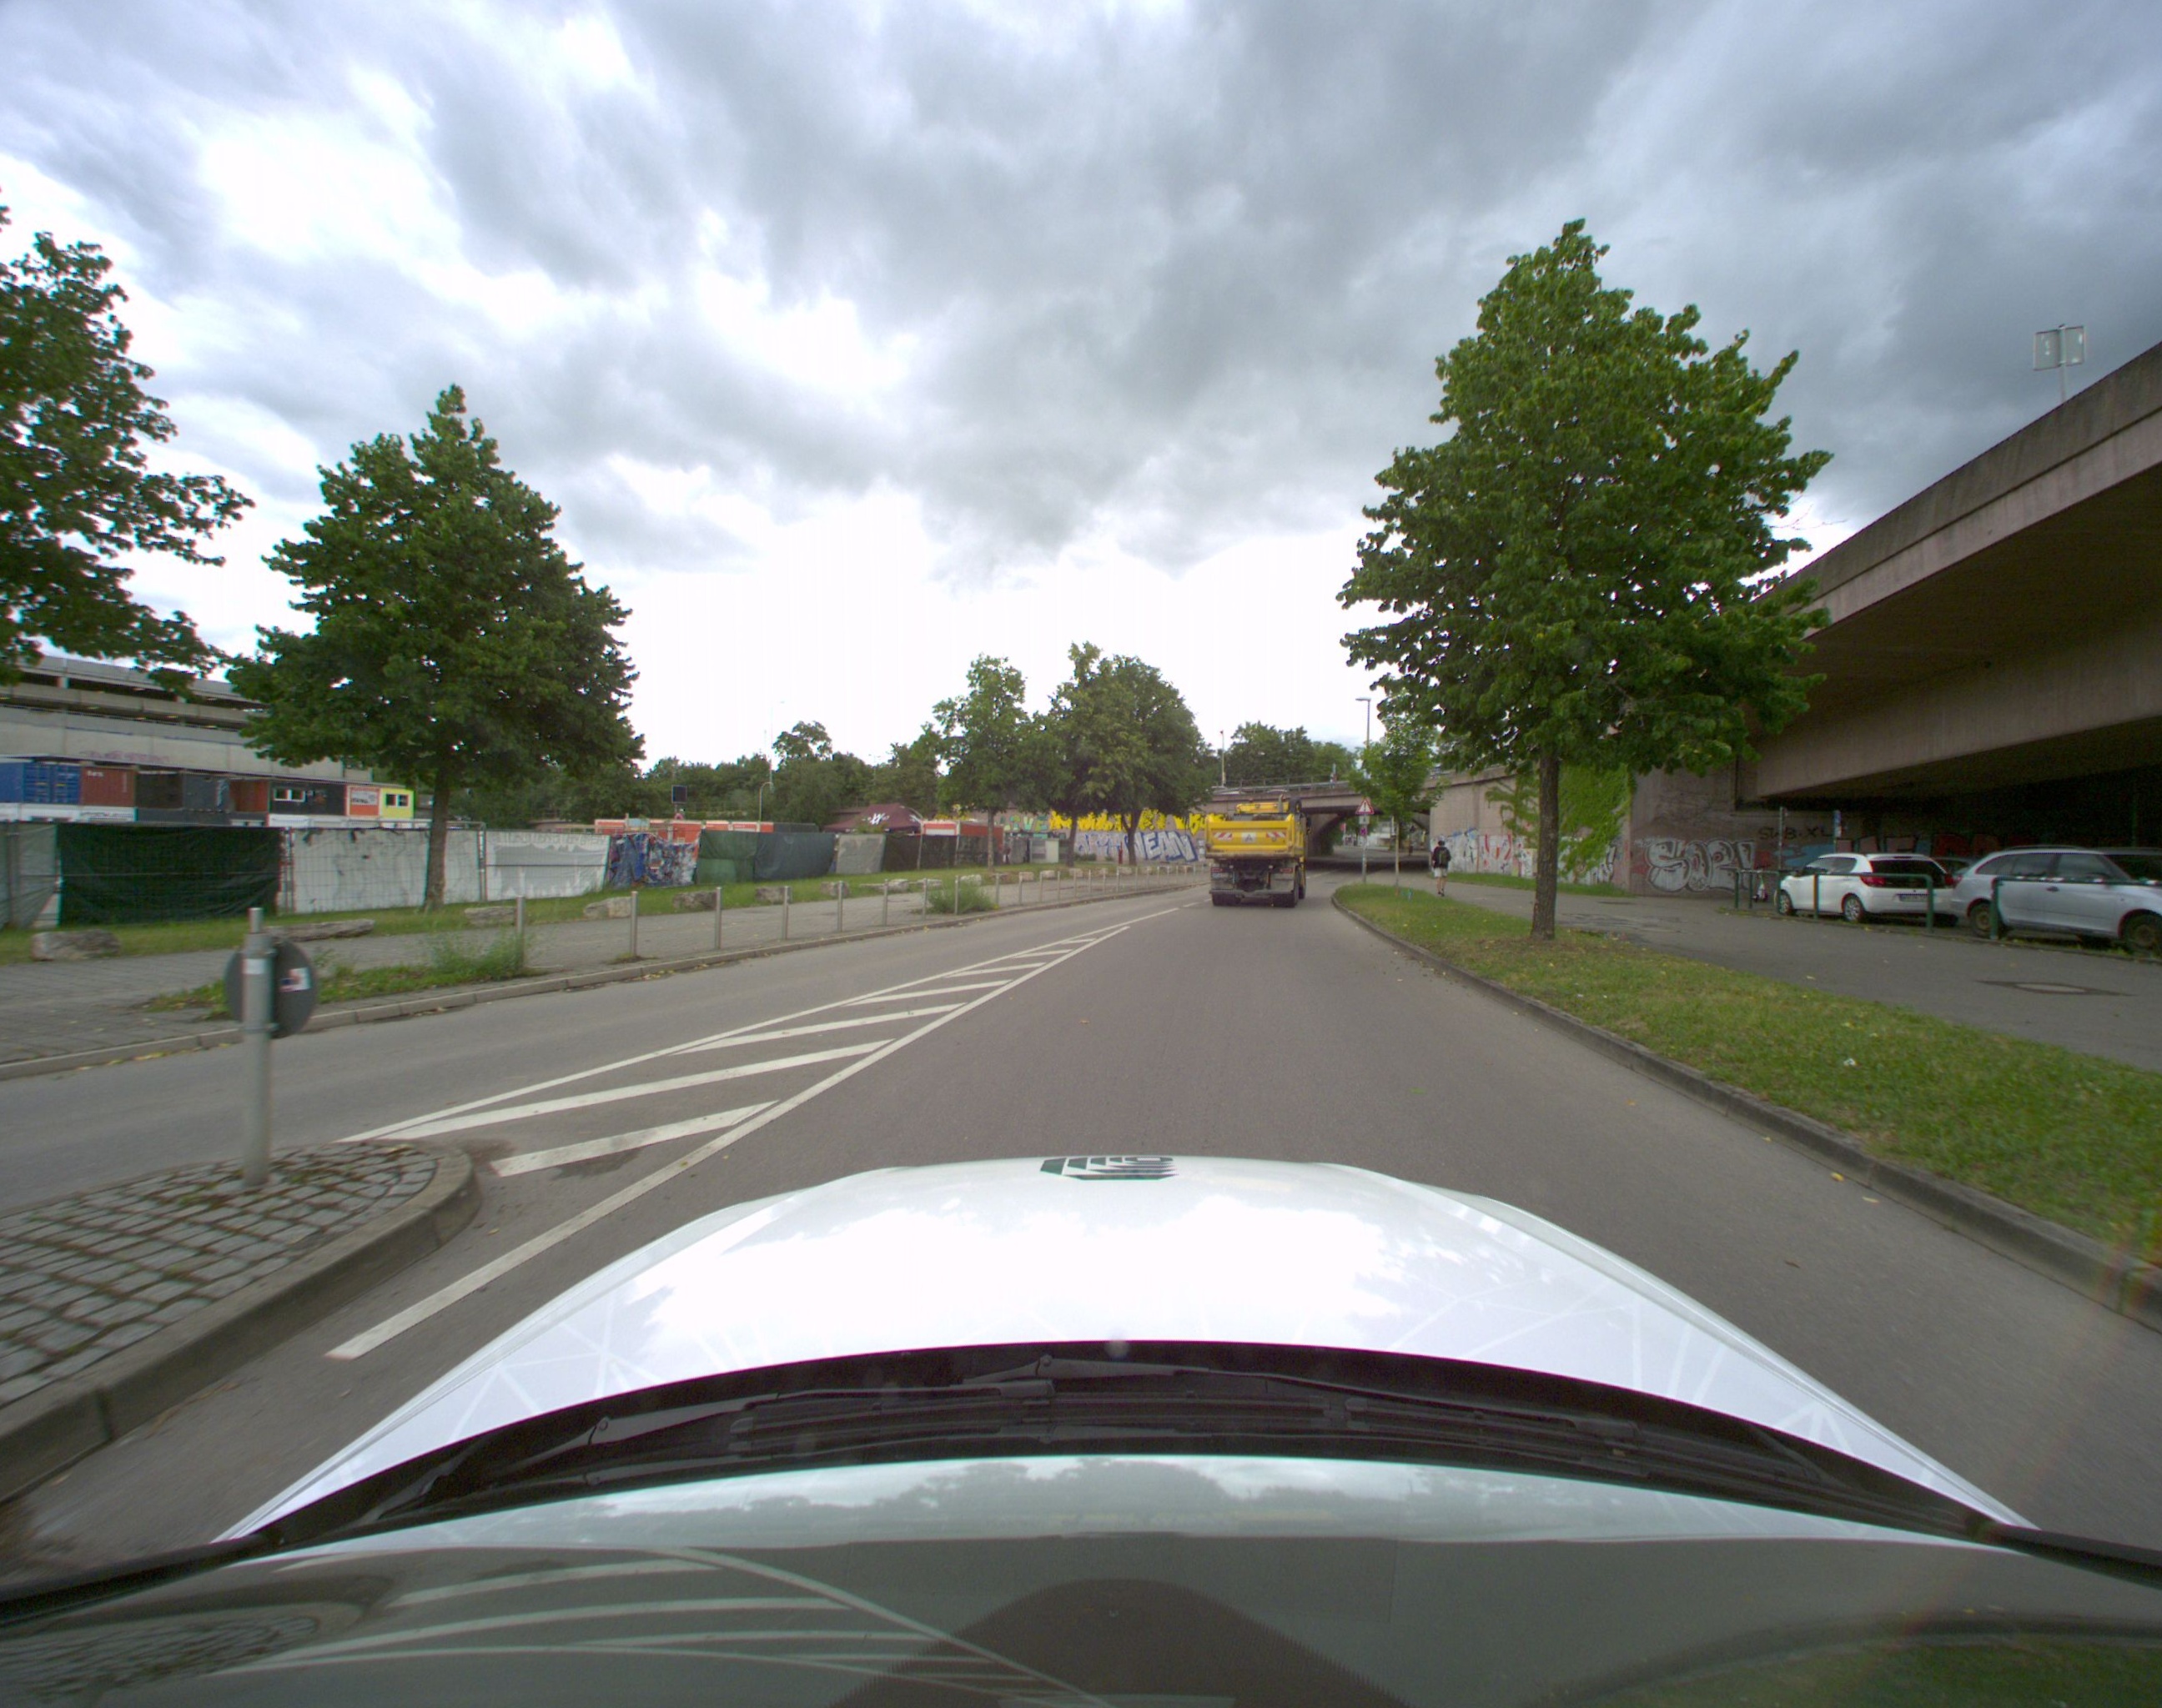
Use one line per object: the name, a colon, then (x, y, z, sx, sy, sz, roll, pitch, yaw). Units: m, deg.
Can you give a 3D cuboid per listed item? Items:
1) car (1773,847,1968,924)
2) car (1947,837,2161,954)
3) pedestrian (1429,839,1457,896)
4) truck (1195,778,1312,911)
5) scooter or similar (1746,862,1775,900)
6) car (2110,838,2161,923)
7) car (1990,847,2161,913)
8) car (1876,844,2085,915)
car: (16.595, 0.585, 17.348, 1.562, 1.440, 3.392, 2, 1, 16)
car: (15.228, 0.550, 11.810, 1.601, 1.535, 4.083, 2, 1, 12)
pedestrian: (12.381, 0.460, 27.869, 0.729, 1.907, 0.828, 1, 0, 14)
truck: (5.911, -0.311, 26.758, 2.735, 3.698, 7.918, 1, 0, 19)
scooter or similar: (21.168, 0.818, 25.362, 1.687, 1.129, 0.267, 0, 0, -36)
car: (22.827, 0.549, 15.491, 3.826, 1.638, 1.763, 1, 1, 10)
car: (25.179, 0.623, 19.799, 3.826, 1.478, 1.763, 1, 1, 10)
car: (21.424, 0.515, 19.650, 1.729, 1.498, 4.021, 1, 1, 21)
